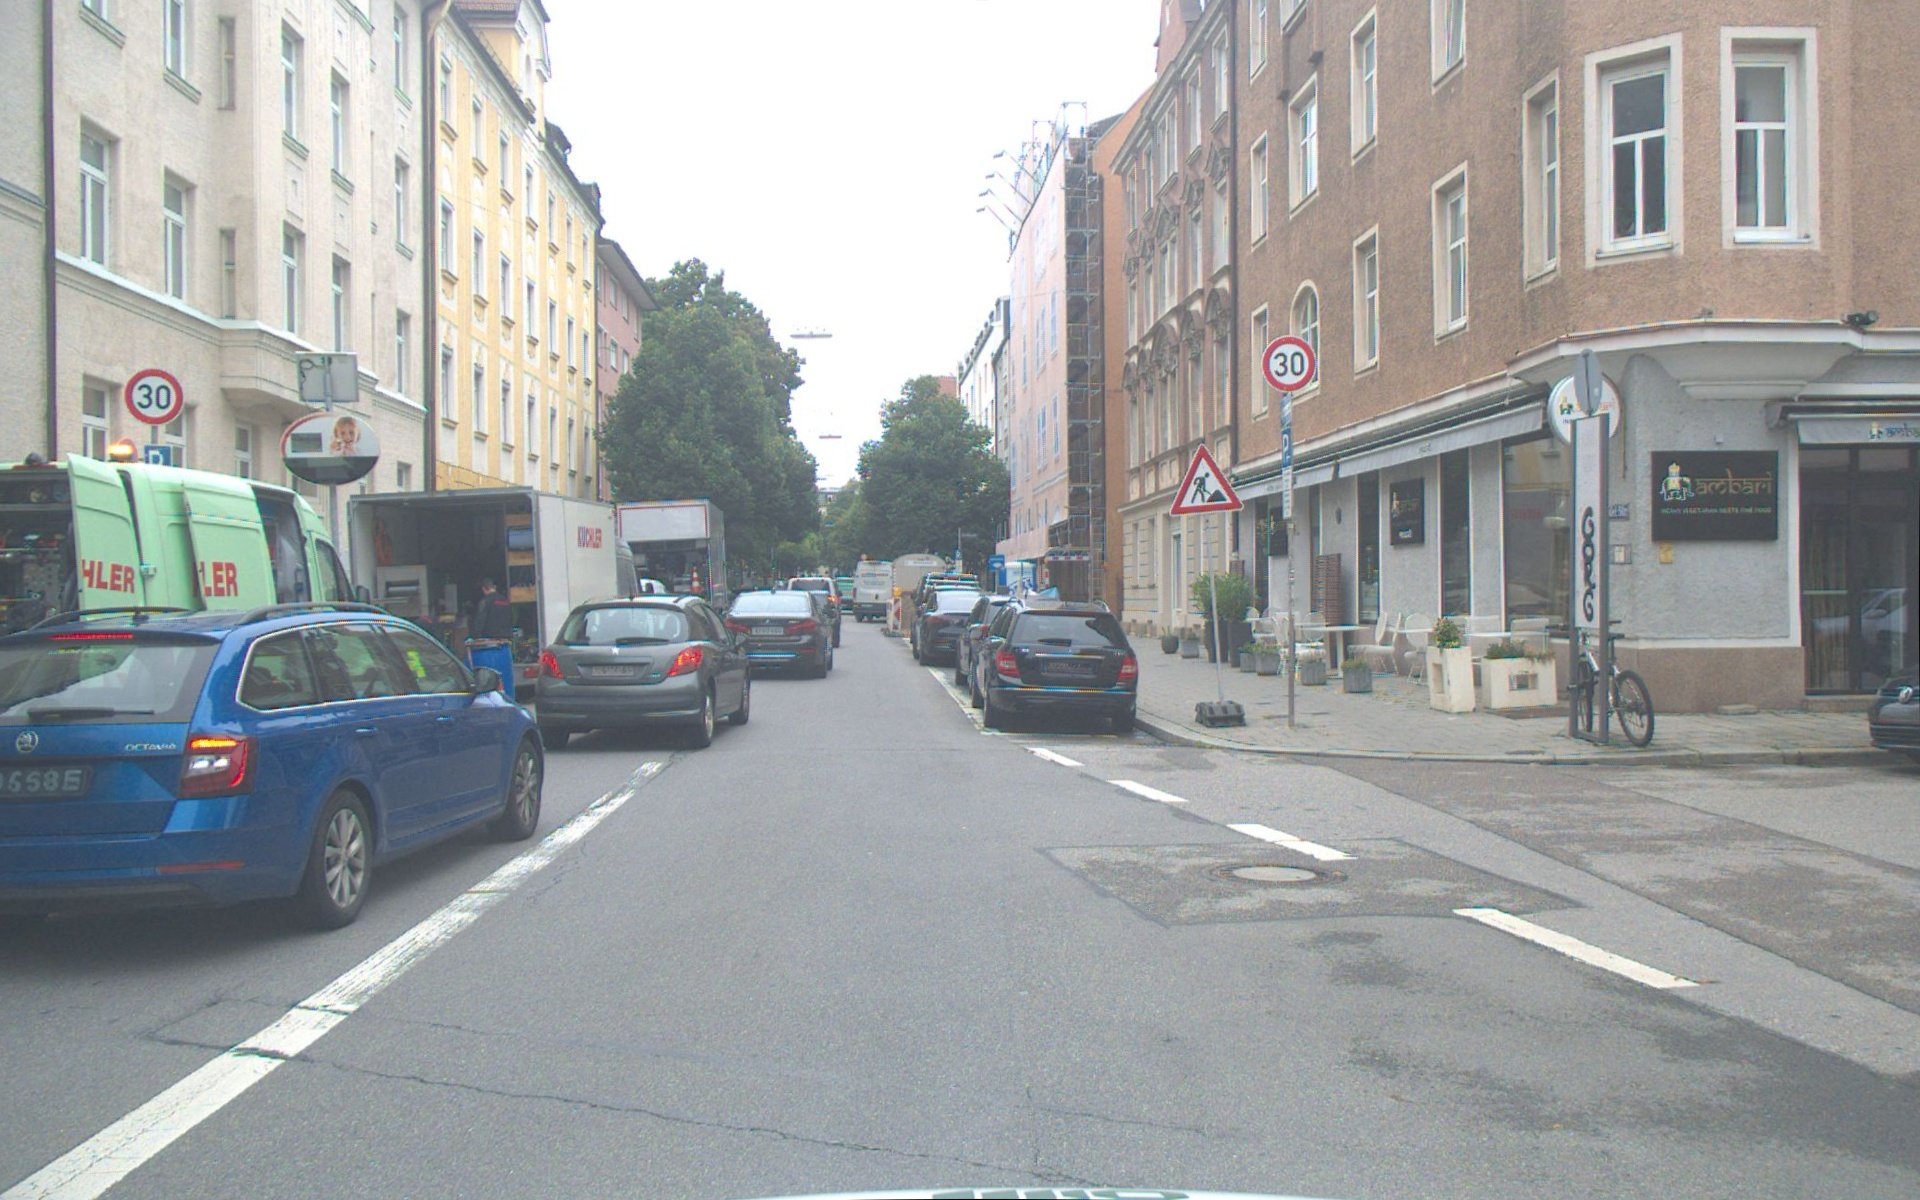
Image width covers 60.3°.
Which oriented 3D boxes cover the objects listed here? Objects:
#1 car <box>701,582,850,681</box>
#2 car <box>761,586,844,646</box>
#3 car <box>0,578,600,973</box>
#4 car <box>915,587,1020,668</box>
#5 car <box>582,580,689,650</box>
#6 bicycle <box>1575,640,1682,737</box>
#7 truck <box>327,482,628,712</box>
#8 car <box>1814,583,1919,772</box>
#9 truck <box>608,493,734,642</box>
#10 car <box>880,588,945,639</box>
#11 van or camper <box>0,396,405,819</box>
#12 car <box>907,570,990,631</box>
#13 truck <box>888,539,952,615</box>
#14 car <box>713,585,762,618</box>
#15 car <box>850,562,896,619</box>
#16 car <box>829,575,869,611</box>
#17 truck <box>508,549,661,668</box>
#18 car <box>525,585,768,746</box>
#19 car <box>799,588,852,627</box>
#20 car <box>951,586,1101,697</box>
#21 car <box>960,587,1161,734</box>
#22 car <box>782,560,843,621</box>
[{"bbox_3d":[-3.102,0.480,28.804,1.949,1.454,4.906,2,1,1],"label":"car"},{"bbox_3d":[-4.133,0.393,44.018,1.950,1.454,4.139,-1,1,-2],"label":"car"},{"bbox_3d":[-3.557,0.686,8.639,1.945,1.479,4.737,-1,0,5],"label":"car"},{"bbox_3d":[0.090,0.518,34.279,1.808,1.454,4.303,2,1,-4],"label":"car"},{"bbox_3d":[-7.860,0.337,40.395,1.950,1.639,4.138,0,0,-2],"label":"car"},{"bbox_3d":[6.147,0.798,15.263,0.447,0.819,1.326,0,0,-1],"label":"bicycle"},{"bbox_3d":[-6.918,-0.118,24.880,2.718,2.923,7.198,-1,1,-3],"label":"truck"},{"bbox_3d":[9.408,0.585,13.301,4.086,1.454,1.924,-1,-2,-3],"label":"car"},{"bbox_3d":[-8.285,-0.887,48.153,2.953,4.021,6.989,0,0,-4],"label":"truck"},{"bbox_3d":[-1.525,0.387,51.980,1.950,1.454,4.139,-1,1,-2],"label":"car"},{"bbox_3d":[-7.049,-0.006,14.389,2.548,2.889,6.183,-1,1,-2],"label":"van or camper"},{"bbox_3d":[-0.346,-0.023,42.165,1.950,1.454,4.139,-1,1,-2],"label":"car"},{"bbox_3d":[-1.712,-0.928,68.106,2.442,3.025,5.324,0,0,-4],"label":"truck"},{"bbox_3d":[-10.033,0.047,74.774,1.901,1.473,3.863,0,0,-4],"label":"car"},{"bbox_3d":[-3.920,-0.426,75.156,1.900,2.523,4.781,0,0,-1],"label":"car"},{"bbox_3d":[-6.073,-0.383,90.766,1.953,1.937,3.999,1,0,-1],"label":"car"},{"bbox_3d":[-7.382,0.143,33.036,2.241,2.209,4.803,0,0,-4],"label":"truck"},{"bbox_3d":[-3.162,0.607,17.482,1.722,1.486,4.074,-1,0,1],"label":"car"},{"bbox_3d":[-5.377,0.269,66.411,1.950,1.454,4.139,-1,1,-2],"label":"car"},{"bbox_3d":[0.936,0.582,25.621,1.808,1.454,4.137,2,1,-4],"label":"car"},{"bbox_3d":[1.084,0.638,19.838,1.808,1.454,4.180,2,1,-4],"label":"car"},{"bbox_3d":[-5.266,-0.366,59.505,1.950,2.111,4.139,-1,1,-2],"label":"car"}]
